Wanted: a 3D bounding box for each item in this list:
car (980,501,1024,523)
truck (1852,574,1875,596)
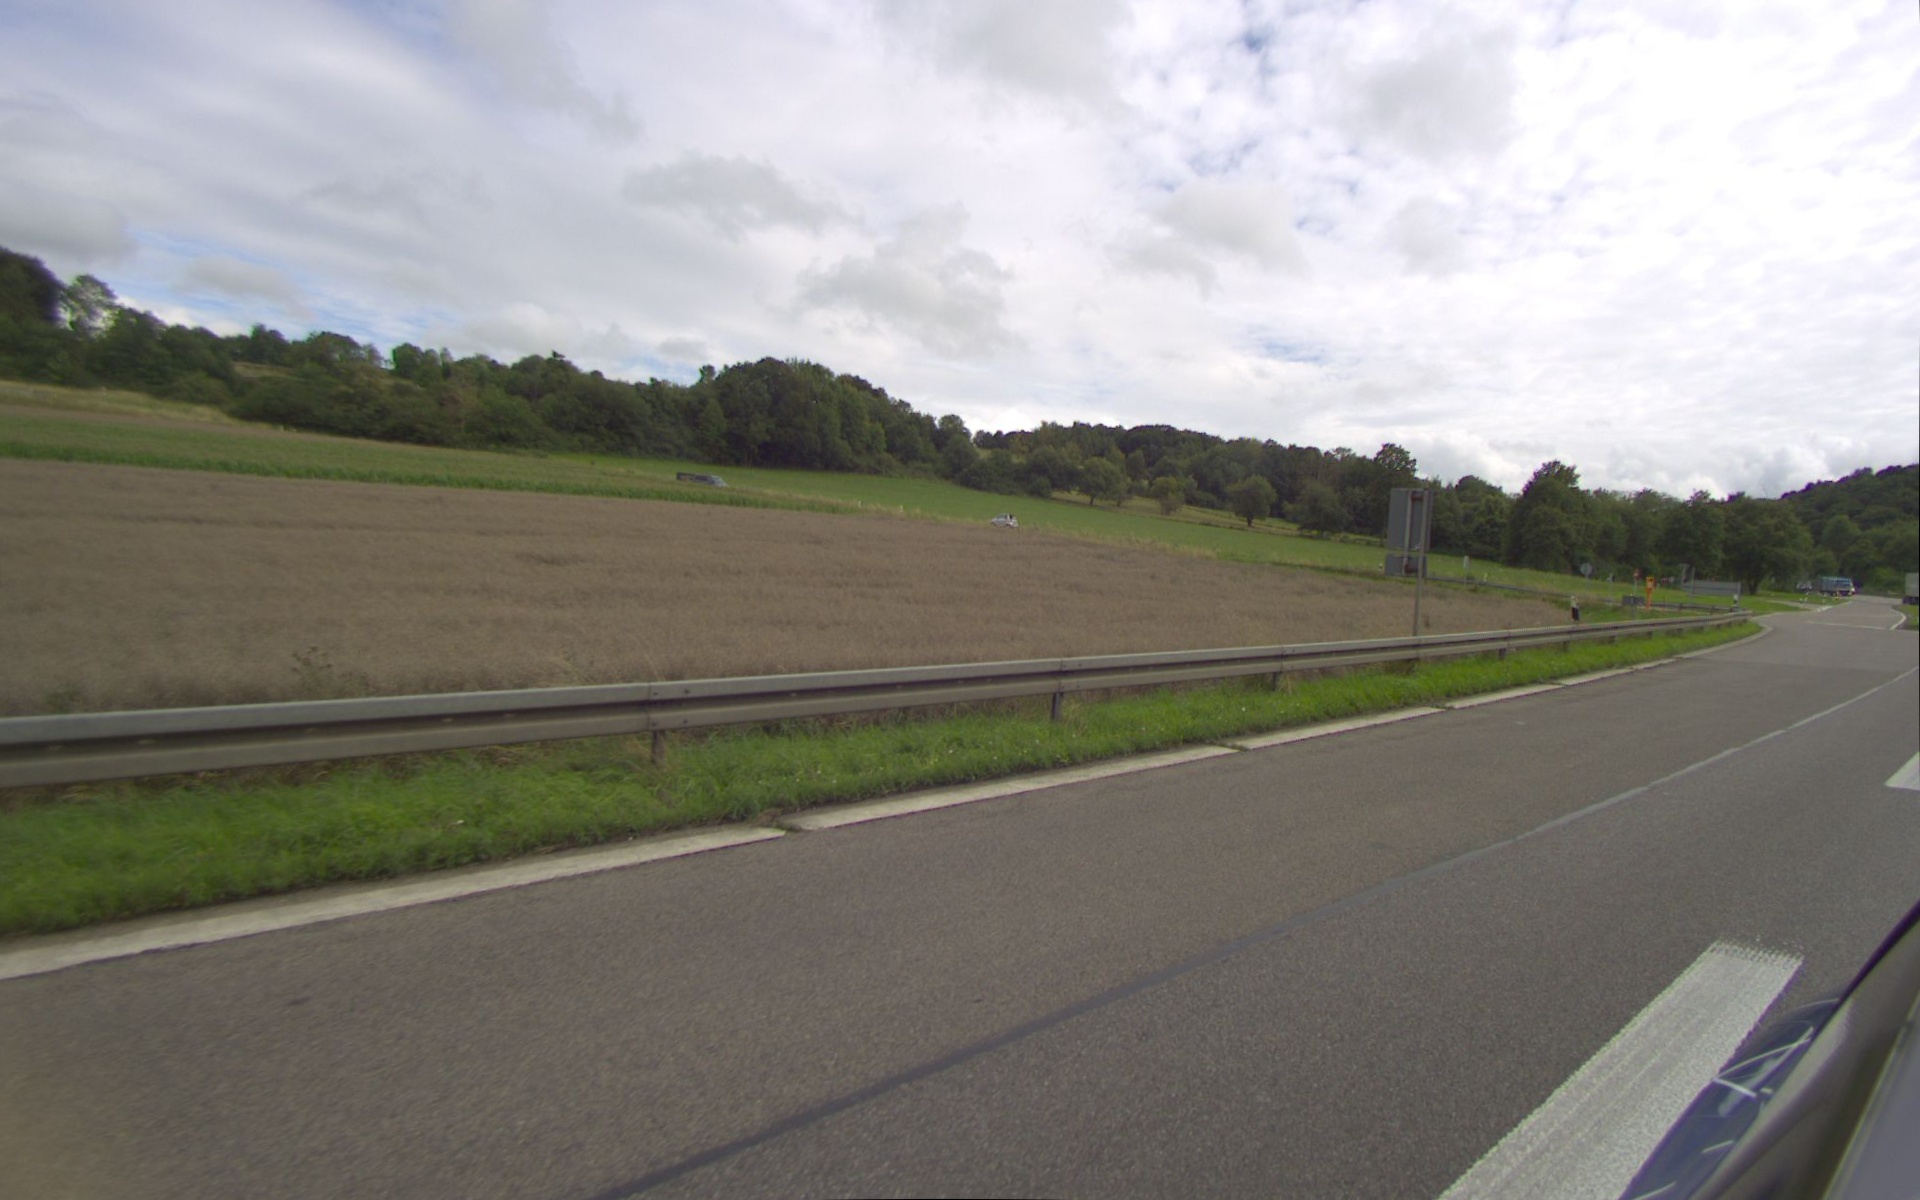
[{"bbox_3d":[4.289,-8.958,103.247,3.979,1.569,1.762,12,5,33],"label":"car"},{"bbox_3d":[173.395,-2.865,194.304,2.784,4.019,5.859,3,4,39],"label":"truck"}]
